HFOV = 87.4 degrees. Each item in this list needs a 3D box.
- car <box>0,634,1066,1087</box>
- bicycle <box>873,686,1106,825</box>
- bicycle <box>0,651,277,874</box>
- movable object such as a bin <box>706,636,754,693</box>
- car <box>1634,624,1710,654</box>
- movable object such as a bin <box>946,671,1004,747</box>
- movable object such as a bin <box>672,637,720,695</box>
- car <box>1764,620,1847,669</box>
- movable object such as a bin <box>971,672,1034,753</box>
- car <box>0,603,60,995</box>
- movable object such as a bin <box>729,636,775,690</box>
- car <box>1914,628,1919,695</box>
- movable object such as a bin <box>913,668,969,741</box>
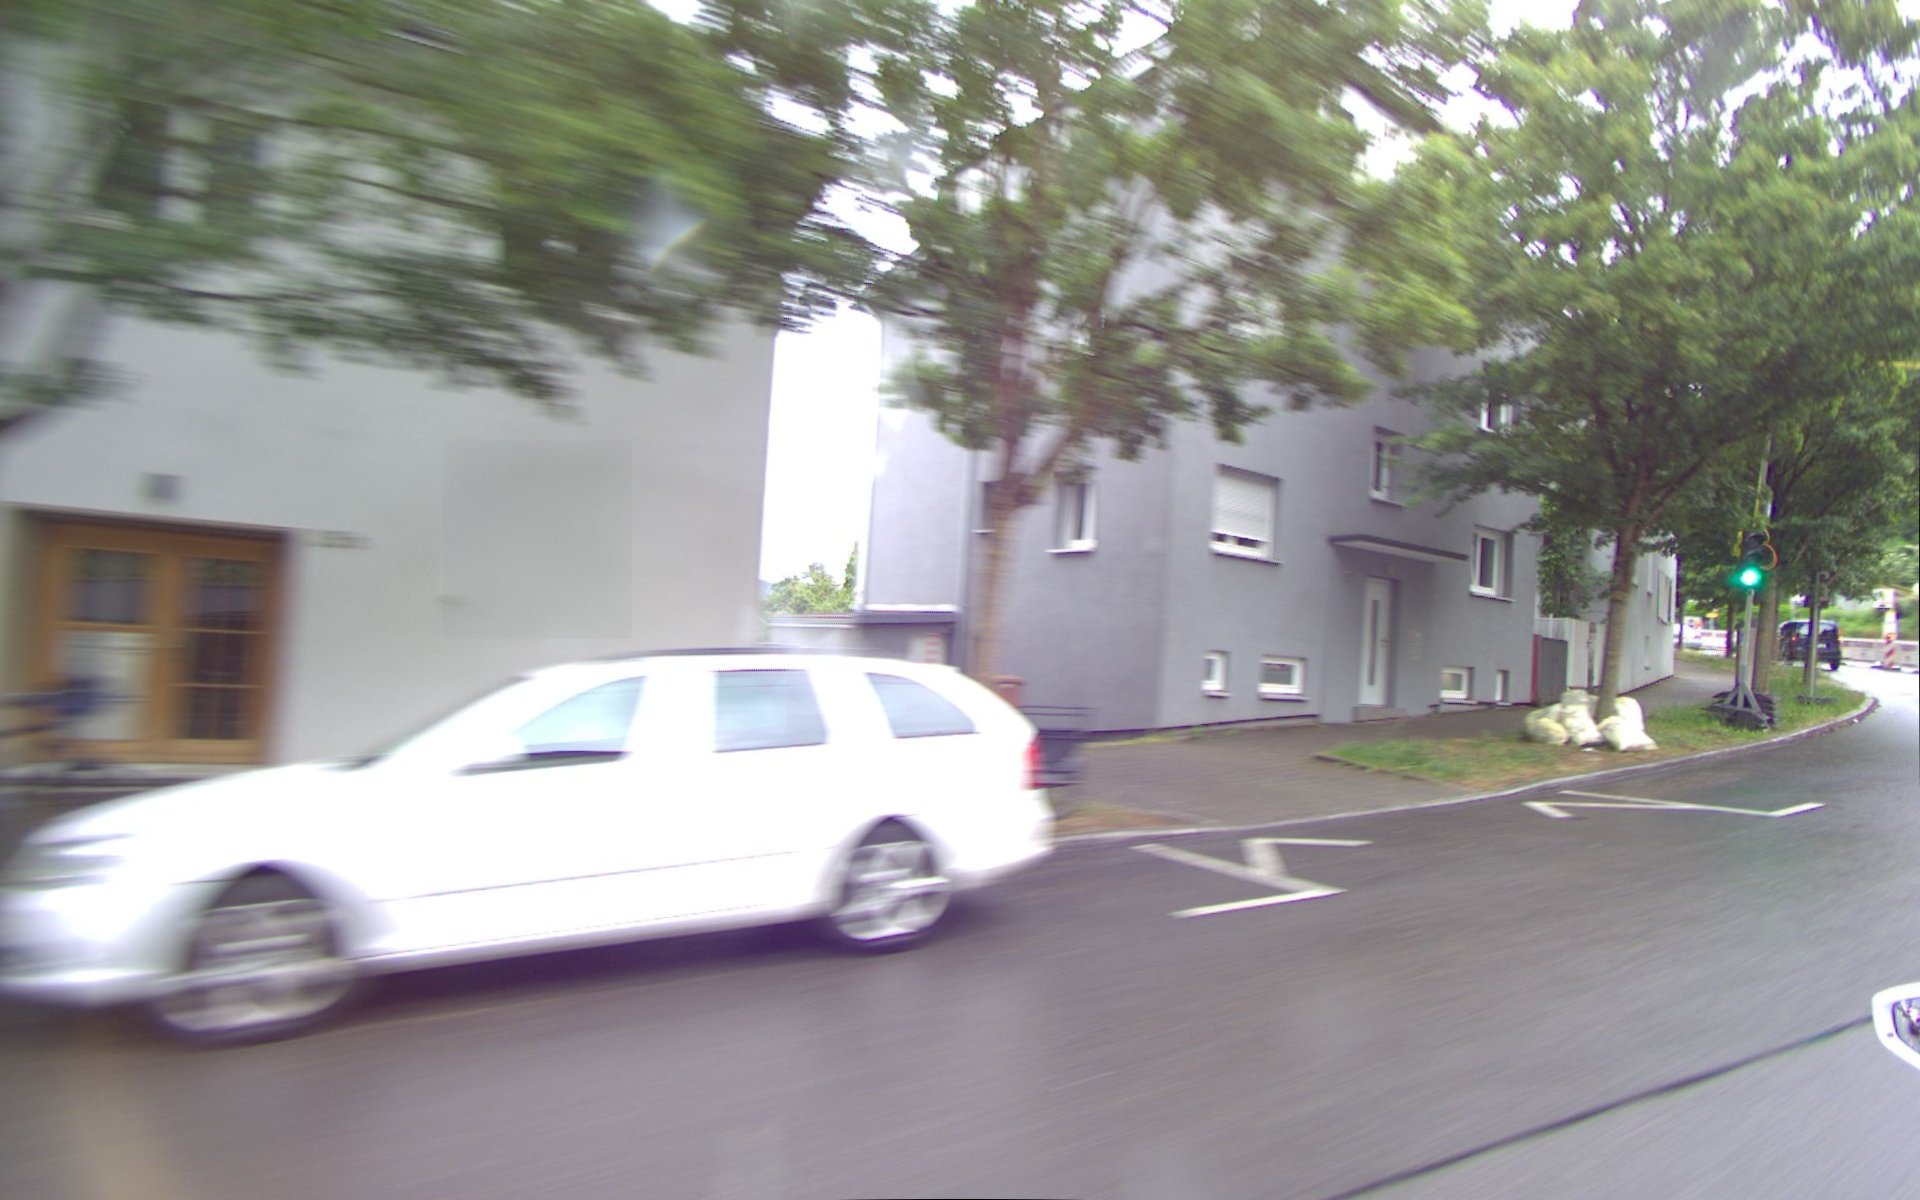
[{"bbox_3d":[-1.708,0.968,5.125,4.259,1.528,1.676,1,-4,-26],"label":"car"},{"bbox_3d":[0.245,1.253,8.296,1.873,1.043,0.435,1,-1,-14],"label":"bicycle"},{"bbox_3d":[-5.400,0.954,6.157,1.874,1.268,0.618,1,-1,-16],"label":"bicycle"},{"bbox_3d":[-4.052,1.123,17.663,0.650,0.963,0.677,1,-2,-29],"label":"movable object such as a bin"},{"bbox_3d":[37.642,2.090,53.216,1.691,1.505,4.080,0,-3,11],"label":"car"},{"bbox_3d":[0.194,1.455,13.547,0.633,0.963,0.656,1,-1,-15],"label":"movable object such as a bin"},{"bbox_3d":[-4.475,1.106,17.022,0.650,0.963,0.639,1,-2,-29],"label":"movable object such as a bin"},{"bbox_3d":[33.209,1.762,39.574,1.966,1.817,3.990,-2,-3,33],"label":"car"},{"bbox_3d":[0.539,1.427,12.882,0.633,0.963,0.656,1,-1,-15],"label":"movable object such as a bin"},{"bbox_3d":[-5.897,0.777,2.930,4.515,1.629,1.677,1,-3,-26],"label":"car"},{"bbox_3d":[-3.847,1.151,18.597,0.650,0.963,0.709,1,-2,-29],"label":"movable object such as a bin"},{"bbox_3d":[23.279,1.457,22.671,1.900,1.639,4.307,0,-1,35],"label":"car"},{"bbox_3d":[-0.273,1.456,14.151,0.633,0.963,0.656,1,-1,-15],"label":"movable object such as a bin"}]
